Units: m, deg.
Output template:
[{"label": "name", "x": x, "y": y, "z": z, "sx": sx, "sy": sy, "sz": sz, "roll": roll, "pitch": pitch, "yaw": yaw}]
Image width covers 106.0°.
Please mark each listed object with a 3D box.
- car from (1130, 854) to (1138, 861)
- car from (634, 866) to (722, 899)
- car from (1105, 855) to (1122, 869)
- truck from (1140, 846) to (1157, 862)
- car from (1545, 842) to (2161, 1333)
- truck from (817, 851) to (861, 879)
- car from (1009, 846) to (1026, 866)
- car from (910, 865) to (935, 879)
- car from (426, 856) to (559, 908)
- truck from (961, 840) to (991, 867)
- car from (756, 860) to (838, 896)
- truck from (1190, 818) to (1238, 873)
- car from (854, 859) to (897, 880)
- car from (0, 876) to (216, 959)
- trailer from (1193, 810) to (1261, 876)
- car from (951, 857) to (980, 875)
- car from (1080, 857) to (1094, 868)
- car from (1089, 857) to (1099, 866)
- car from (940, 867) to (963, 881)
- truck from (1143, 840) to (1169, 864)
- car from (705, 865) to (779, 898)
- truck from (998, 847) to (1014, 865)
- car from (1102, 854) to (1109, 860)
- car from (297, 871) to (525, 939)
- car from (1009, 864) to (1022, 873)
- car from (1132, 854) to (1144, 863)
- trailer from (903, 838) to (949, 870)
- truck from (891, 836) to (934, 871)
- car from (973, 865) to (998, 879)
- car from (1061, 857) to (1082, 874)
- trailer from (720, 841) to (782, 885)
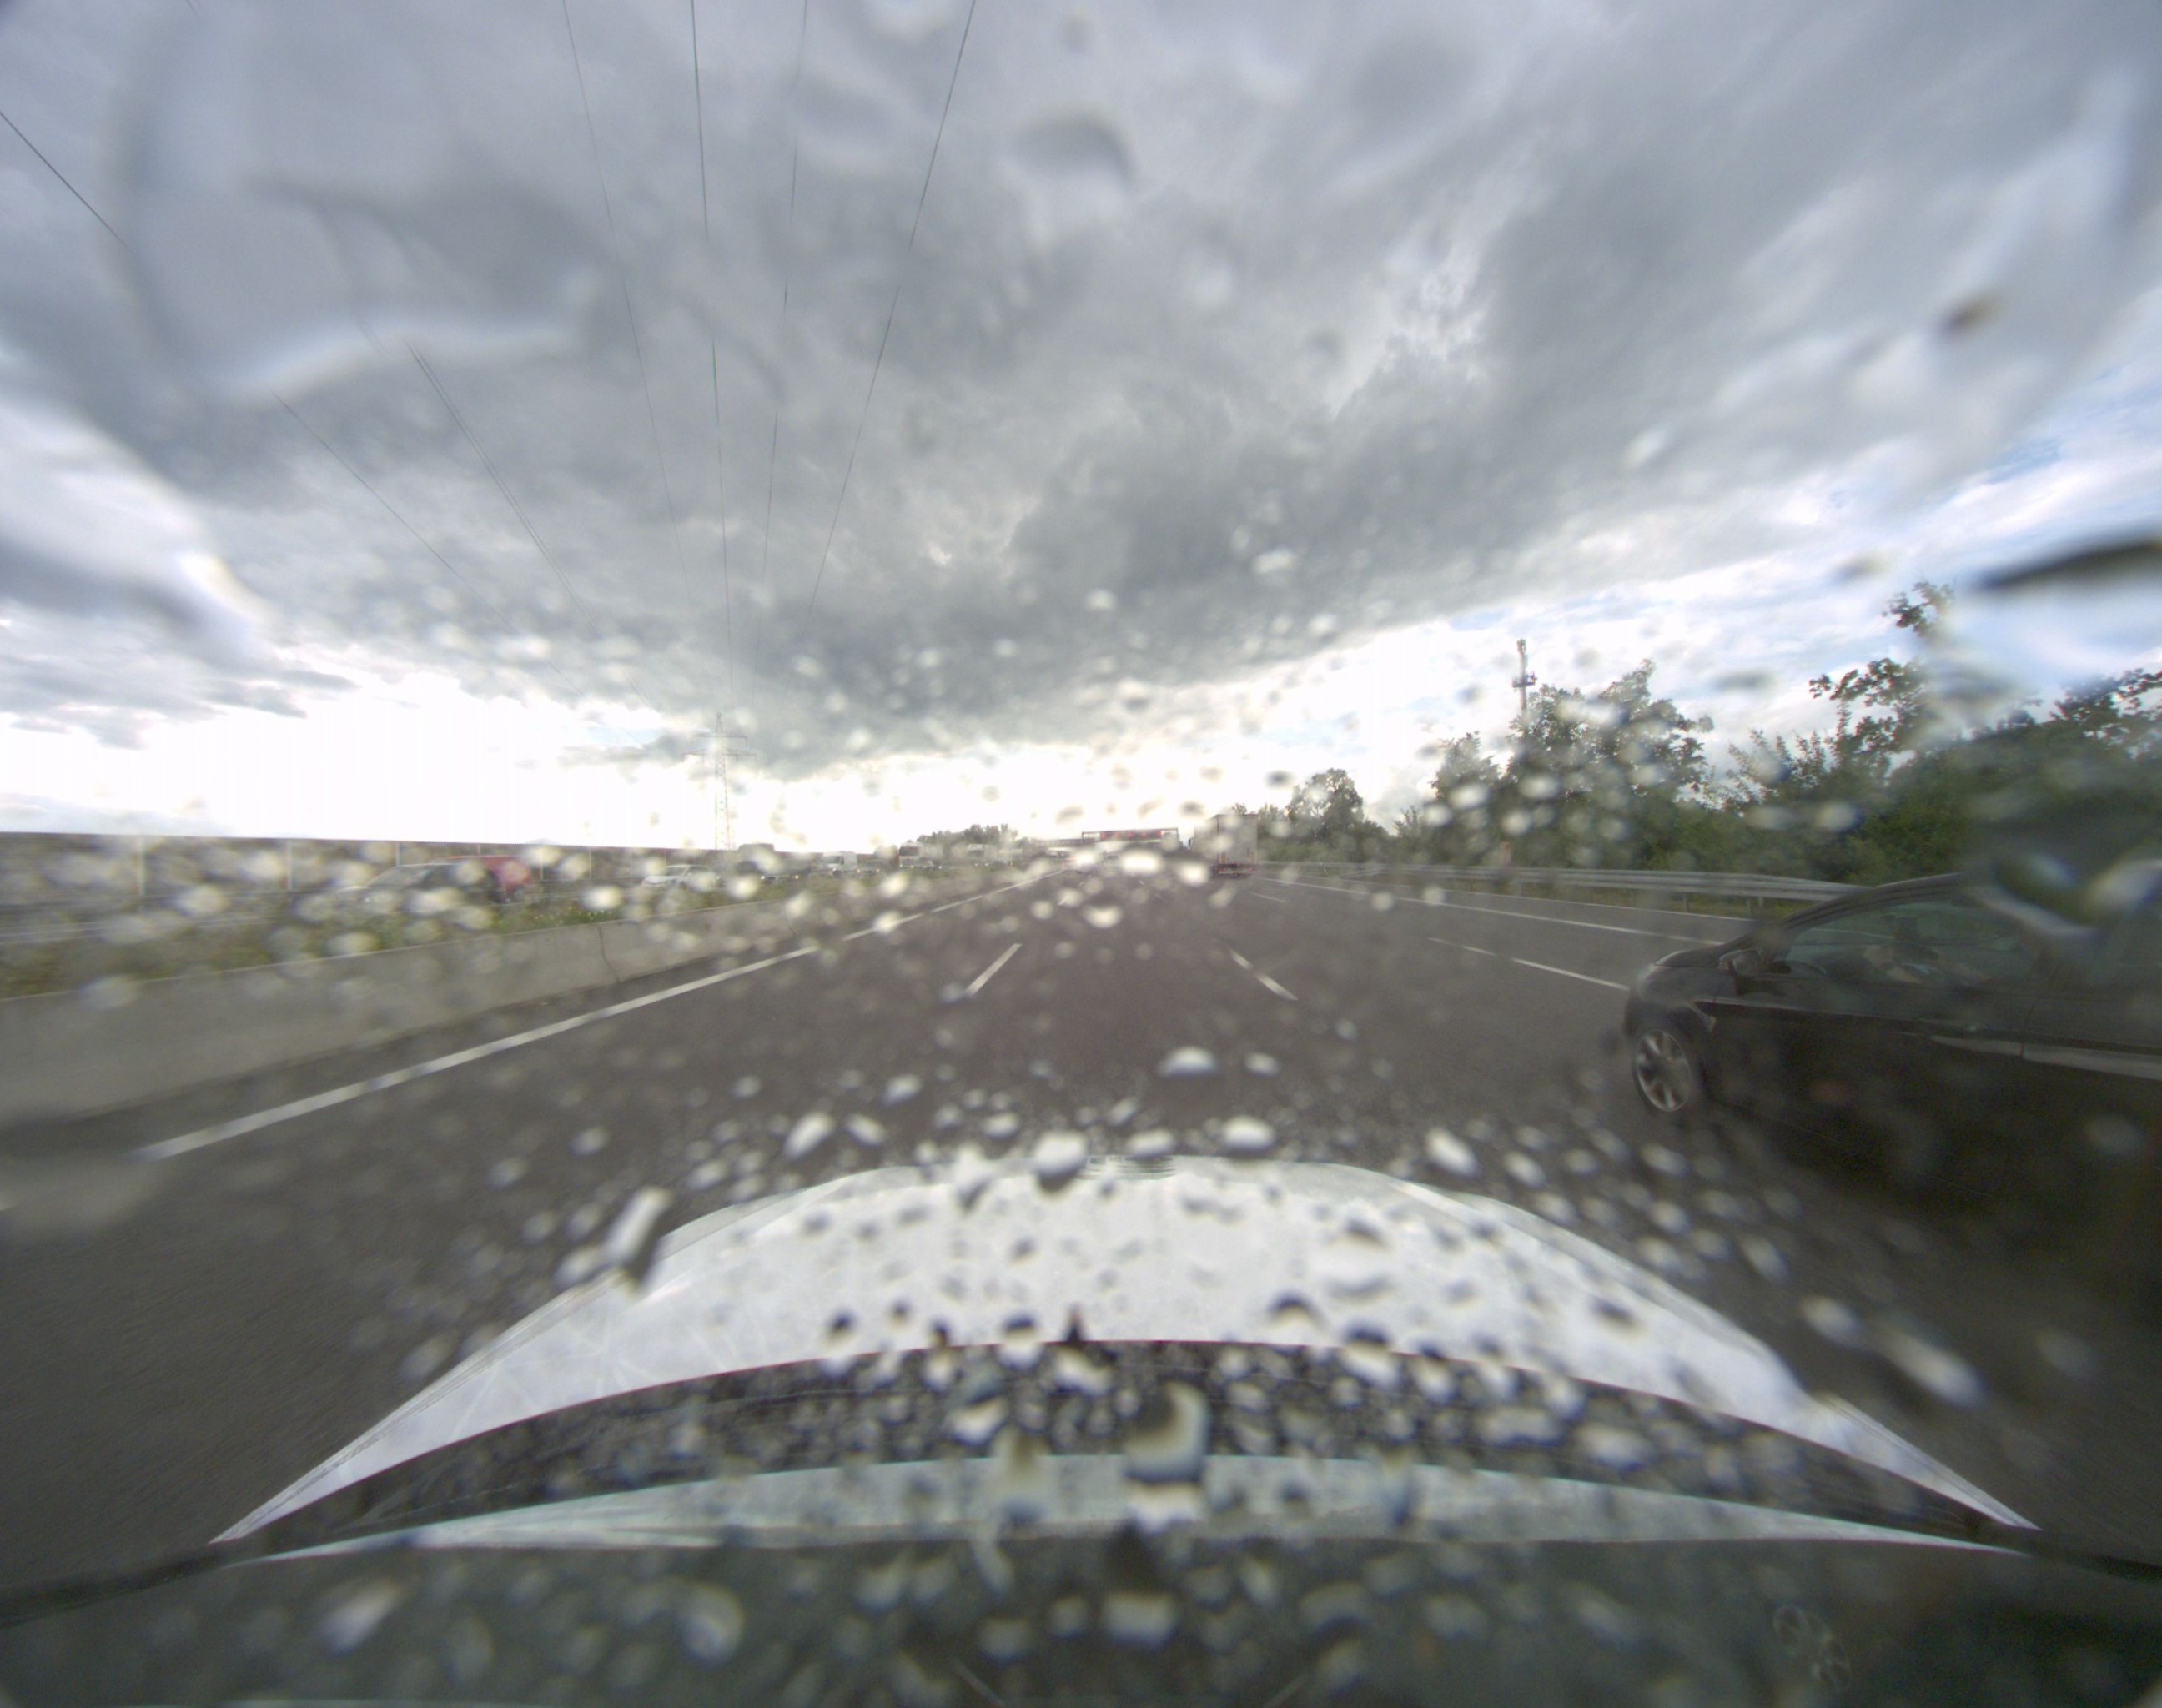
[{"label": "car", "x": 12.152, "y": 0.839, "z": 186.280, "sx": 1.828, "sy": 1.441, "sz": 4.058, "roll": -1, "pitch": 0, "yaw": 3}, {"label": "car", "x": -19.570, "y": 1.332, "z": 39.809, "sx": 1.759, "sy": 1.454, "sz": 4.944, "roll": 0, "pitch": 0, "yaw": 1}, {"label": "car", "x": 3.463, "y": 0.823, "z": 86.833, "sx": 1.766, "sy": 1.441, "sz": 4.056, "roll": -1, "pitch": 0, "yaw": 1}, {"label": "truck", "x": 18.849, "y": 0.003, "z": 228.772, "sx": 4.226, "sy": 4.176, "sz": 11.998, "roll": 0, "pitch": 0, "yaw": 3}, {"label": "car", "x": 3.869, "y": 0.683, "z": 3.981, "sx": 1.442, "sy": 1.441, "sz": 3.164, "roll": -1, "pitch": 0, "yaw": 1}, {"label": "truck", "x": -22.748, "y": 1.009, "z": 76.824, "sx": 2.094, "sy": 2.451, "sz": 6.266, "roll": 0, "pitch": 0, "yaw": 2}, {"label": "car", "x": -13.969, "y": 0.436, "z": 179.549, "sx": 2.971, "sy": 4.150, "sz": 6.045, "roll": 0, "pitch": 0, "yaw": 2}, {"label": "car", "x": -17.697, "y": 1.958, "z": 91.262, "sx": 1.781, "sy": 1.469, "sz": 4.566, "roll": 0, "pitch": 0, "yaw": 1}, {"label": "car", "x": -23.879, "y": 1.076, "z": 33.309, "sx": 1.759, "sy": 1.967, "sz": 4.944, "roll": 0, "pitch": 0, "yaw": 1}, {"label": "truck", "x": -16.477, "y": -0.018, "z": 128.135, "sx": 3.645, "sy": 4.048, "sz": 6.529, "roll": 0, "pitch": 0, "yaw": 3}, {"label": "car", "x": -12.563, "y": 1.024, "z": 36.331, "sx": 1.820, "sy": 1.454, "sz": 4.944, "roll": 0, "pitch": 0, "yaw": 1}, {"label": "truck", "x": 10.310, "y": -0.647, "z": 63.575, "sx": 2.949, "sy": 4.020, "sz": 6.594, "roll": -1, "pitch": 0, "yaw": 3}, {"label": "car", "x": -15.657, "y": 1.156, "z": 62.424, "sx": 1.958, "sy": 1.454, "sz": 4.944, "roll": 0, "pitch": 0, "yaw": 1}, {"label": "car", "x": -20.863, "y": 1.221, "z": 16.302, "sx": 1.759, "sy": 1.454, "sz": 4.944, "roll": 0, "pitch": 0, "yaw": 1}, {"label": "trailer", "x": 9.913, "y": -0.679, "z": 56.788, "sx": 2.949, "sy": 4.020, "sz": 14.130, "roll": -1, "pitch": 0, "yaw": 3}, {"label": "car", "x": -10.843, "y": 1.107, "z": 76.429, "sx": 1.987, "sy": 1.526, "sz": 4.740, "roll": -1, "pitch": 0, "yaw": 0}, {"label": "car", "x": 0.850, "y": 1.082, "z": 109.789, "sx": 1.766, "sy": 1.441, "sz": 4.056, "roll": -1, "pitch": 0, "yaw": 1}, {"label": "car", "x": 2.268, "y": 1.360, "z": 146.103, "sx": 1.766, "sy": 1.441, "sz": 4.055, "roll": -1, "pitch": 0, "yaw": 1}, {"label": "car", "x": -14.282, "y": 2.204, "z": 89.916, "sx": 1.781, "sy": 1.454, "sz": 4.566, "roll": 0, "pitch": 0, "yaw": 1}, {"label": "truck", "x": 13.659, "y": -0.369, "z": 149.615, "sx": 4.164, "sy": 4.288, "sz": 12.618, "roll": 0, "pitch": 0, "yaw": 2}, {"label": "car", "x": -16.373, "y": 1.306, "z": 39.603, "sx": 1.759, "sy": 1.454, "sz": 4.234, "roll": 0, "pitch": 0, "yaw": 1}, {"label": "truck", "x": -17.700, "y": 0.557, "z": 191.509, "sx": 2.889, "sy": 4.116, "sz": 6.625, "roll": 0, "pitch": 0, "yaw": 2}, {"label": "car", "x": 6.501, "y": 0.820, "z": 216.288, "sx": 1.765, "sy": 1.441, "sz": 4.058, "roll": -1, "pitch": 0, "yaw": 3}, {"label": "car", "x": -17.040, "y": 1.216, "z": 21.142, "sx": 1.759, "sy": 1.454, "sz": 4.944, "roll": 0, "pitch": 0, "yaw": 1}, {"label": "car", "x": -11.803, "y": 2.596, "z": 147.406, "sx": 1.781, "sy": 1.562, "sz": 4.566, "roll": 0, "pitch": 0, "yaw": 1}, {"label": "car", "x": 9.166, "y": 0.728, "z": 131.655, "sx": 1.828, "sy": 1.441, "sz": 4.058, "roll": -1, "pitch": 0, "yaw": 3}, {"label": "trailer", "x": -21.825, "y": -0.009, "z": 115.481, "sx": 3.646, "sy": 4.237, "sz": 12.472, "roll": 0, "pitch": 0, "yaw": 2}, {"label": "truck", "x": -22.107, "y": -0.050, "z": 107.137, "sx": 3.646, "sy": 4.319, "sz": 8.241, "roll": 0, "pitch": 0, "yaw": 2}, {"label": "car", "x": -13.360, "y": 2.492, "z": 114.184, "sx": 2.270, "sy": 1.968, "sz": 6.092, "roll": 0, "pitch": 0, "yaw": 4}, {"label": "car", "x": -0.840, "y": 1.034, "z": 75.136, "sx": 1.766, "sy": 1.441, "sz": 3.875, "roll": -1, "pitch": 0, "yaw": 1}, {"label": "trailer", "x": -22.792, "y": 0.607, "z": 56.488, "sx": 2.240, "sy": 2.962, "sz": 4.901, "roll": 0, "pitch": 0, "yaw": 1}]
